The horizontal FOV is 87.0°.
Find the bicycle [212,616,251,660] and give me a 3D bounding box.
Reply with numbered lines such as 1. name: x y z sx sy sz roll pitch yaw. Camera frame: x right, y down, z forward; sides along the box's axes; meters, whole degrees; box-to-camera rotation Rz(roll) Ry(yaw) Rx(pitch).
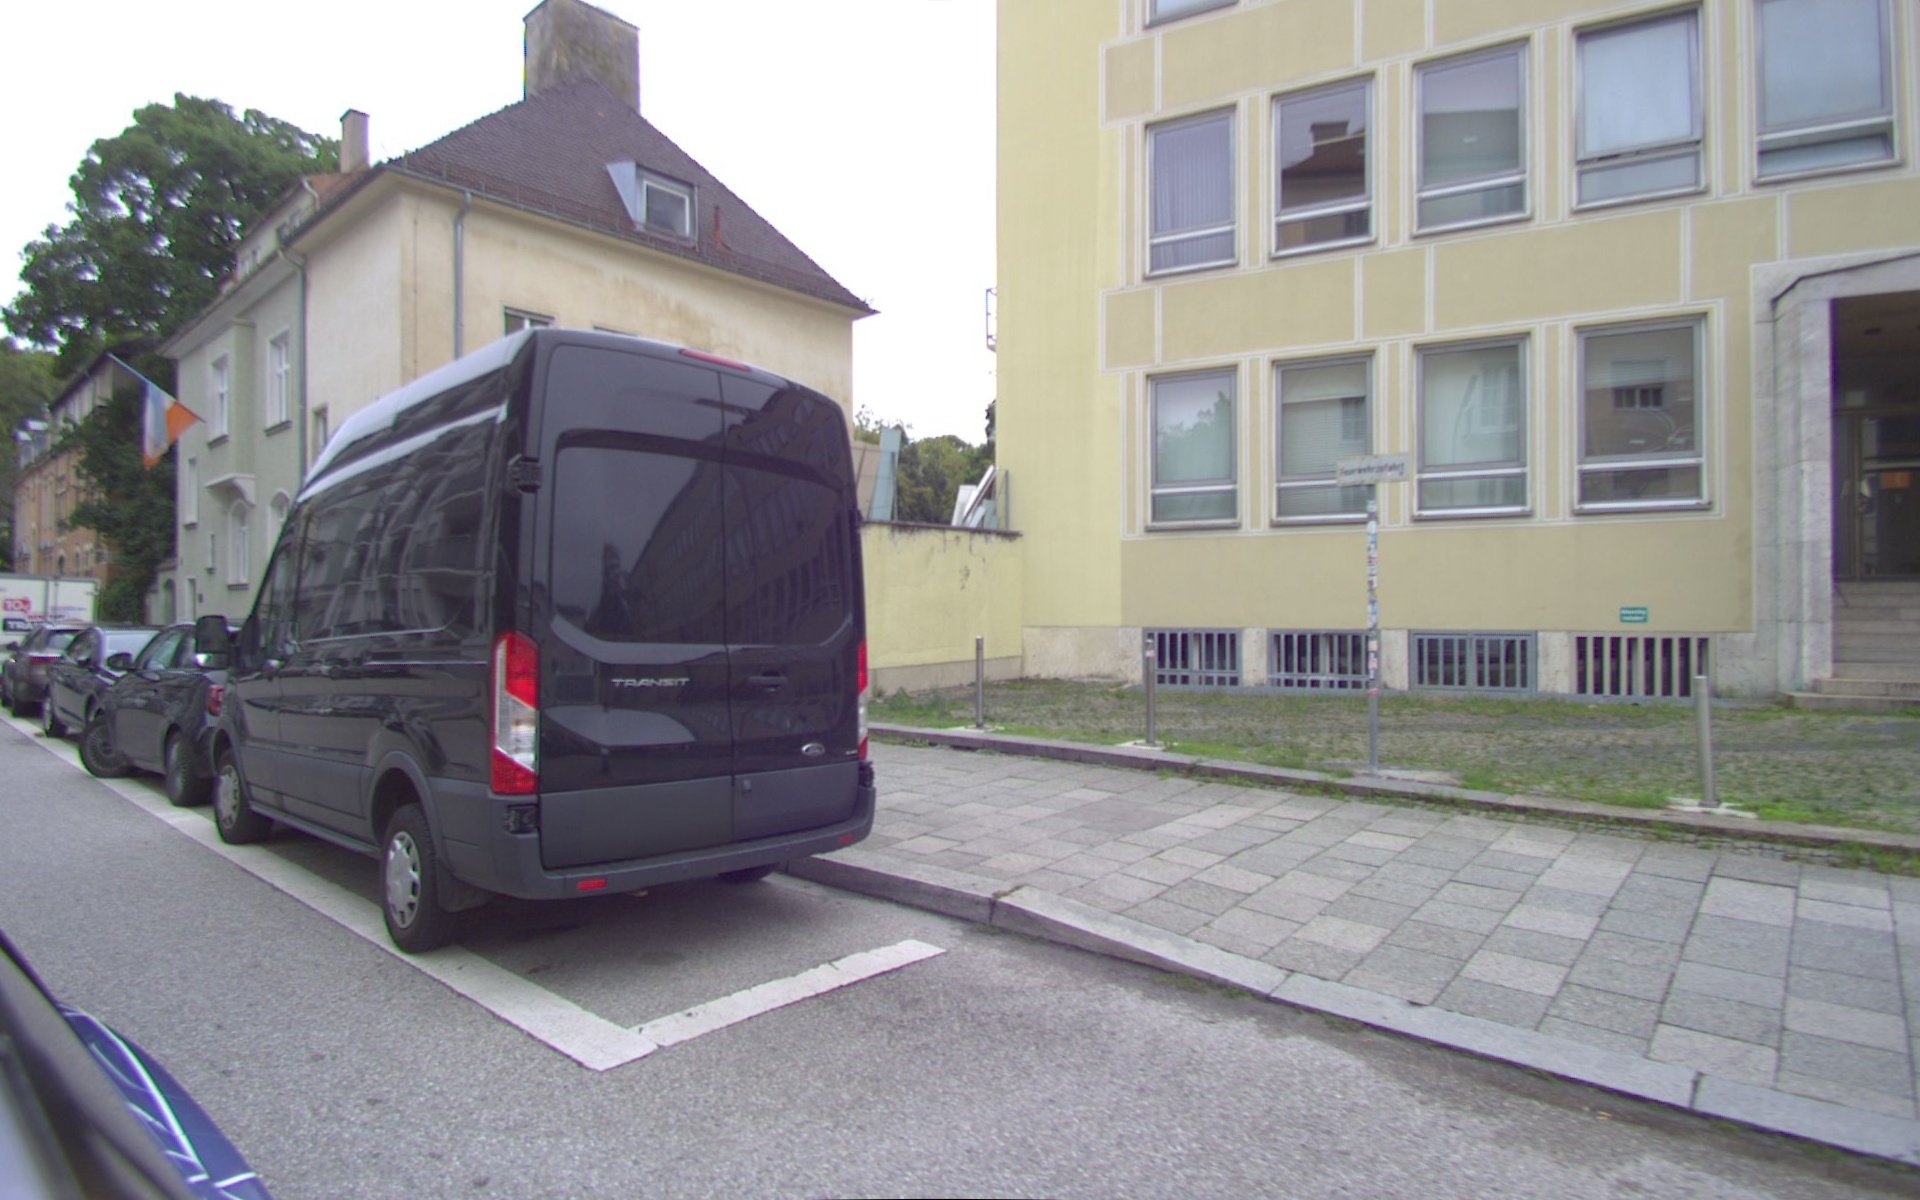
1. bicycle: -18.640 0.954 25.889 1.522 1.093 0.455 -1 1 41

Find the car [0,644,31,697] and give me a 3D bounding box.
1. car: -27.354 1.940 28.156 4.400 1.378 1.727 -2 -3 41

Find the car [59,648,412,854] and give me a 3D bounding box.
1. car: -6.909 1.226 9.522 3.903 1.508 1.637 -1 -3 38

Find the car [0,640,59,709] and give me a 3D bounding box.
1. car: -23.229 1.747 24.445 4.105 1.542 1.661 -2 -3 41

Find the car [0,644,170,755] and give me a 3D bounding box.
1. car: -15.055 1.555 17.181 5.092 1.553 1.843 -2 -3 44

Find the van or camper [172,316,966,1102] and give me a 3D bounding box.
1. van or camper: -2.779 0.445 6.186 5.560 2.671 2.268 -2 -3 43

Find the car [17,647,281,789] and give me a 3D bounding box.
1. car: -10.232 1.329 12.662 4.281 1.447 1.659 -1 -3 39

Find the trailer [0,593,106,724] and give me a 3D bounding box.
1. trailer: -19.499 1.173 21.216 4.579 2.490 1.953 -1 -4 45
